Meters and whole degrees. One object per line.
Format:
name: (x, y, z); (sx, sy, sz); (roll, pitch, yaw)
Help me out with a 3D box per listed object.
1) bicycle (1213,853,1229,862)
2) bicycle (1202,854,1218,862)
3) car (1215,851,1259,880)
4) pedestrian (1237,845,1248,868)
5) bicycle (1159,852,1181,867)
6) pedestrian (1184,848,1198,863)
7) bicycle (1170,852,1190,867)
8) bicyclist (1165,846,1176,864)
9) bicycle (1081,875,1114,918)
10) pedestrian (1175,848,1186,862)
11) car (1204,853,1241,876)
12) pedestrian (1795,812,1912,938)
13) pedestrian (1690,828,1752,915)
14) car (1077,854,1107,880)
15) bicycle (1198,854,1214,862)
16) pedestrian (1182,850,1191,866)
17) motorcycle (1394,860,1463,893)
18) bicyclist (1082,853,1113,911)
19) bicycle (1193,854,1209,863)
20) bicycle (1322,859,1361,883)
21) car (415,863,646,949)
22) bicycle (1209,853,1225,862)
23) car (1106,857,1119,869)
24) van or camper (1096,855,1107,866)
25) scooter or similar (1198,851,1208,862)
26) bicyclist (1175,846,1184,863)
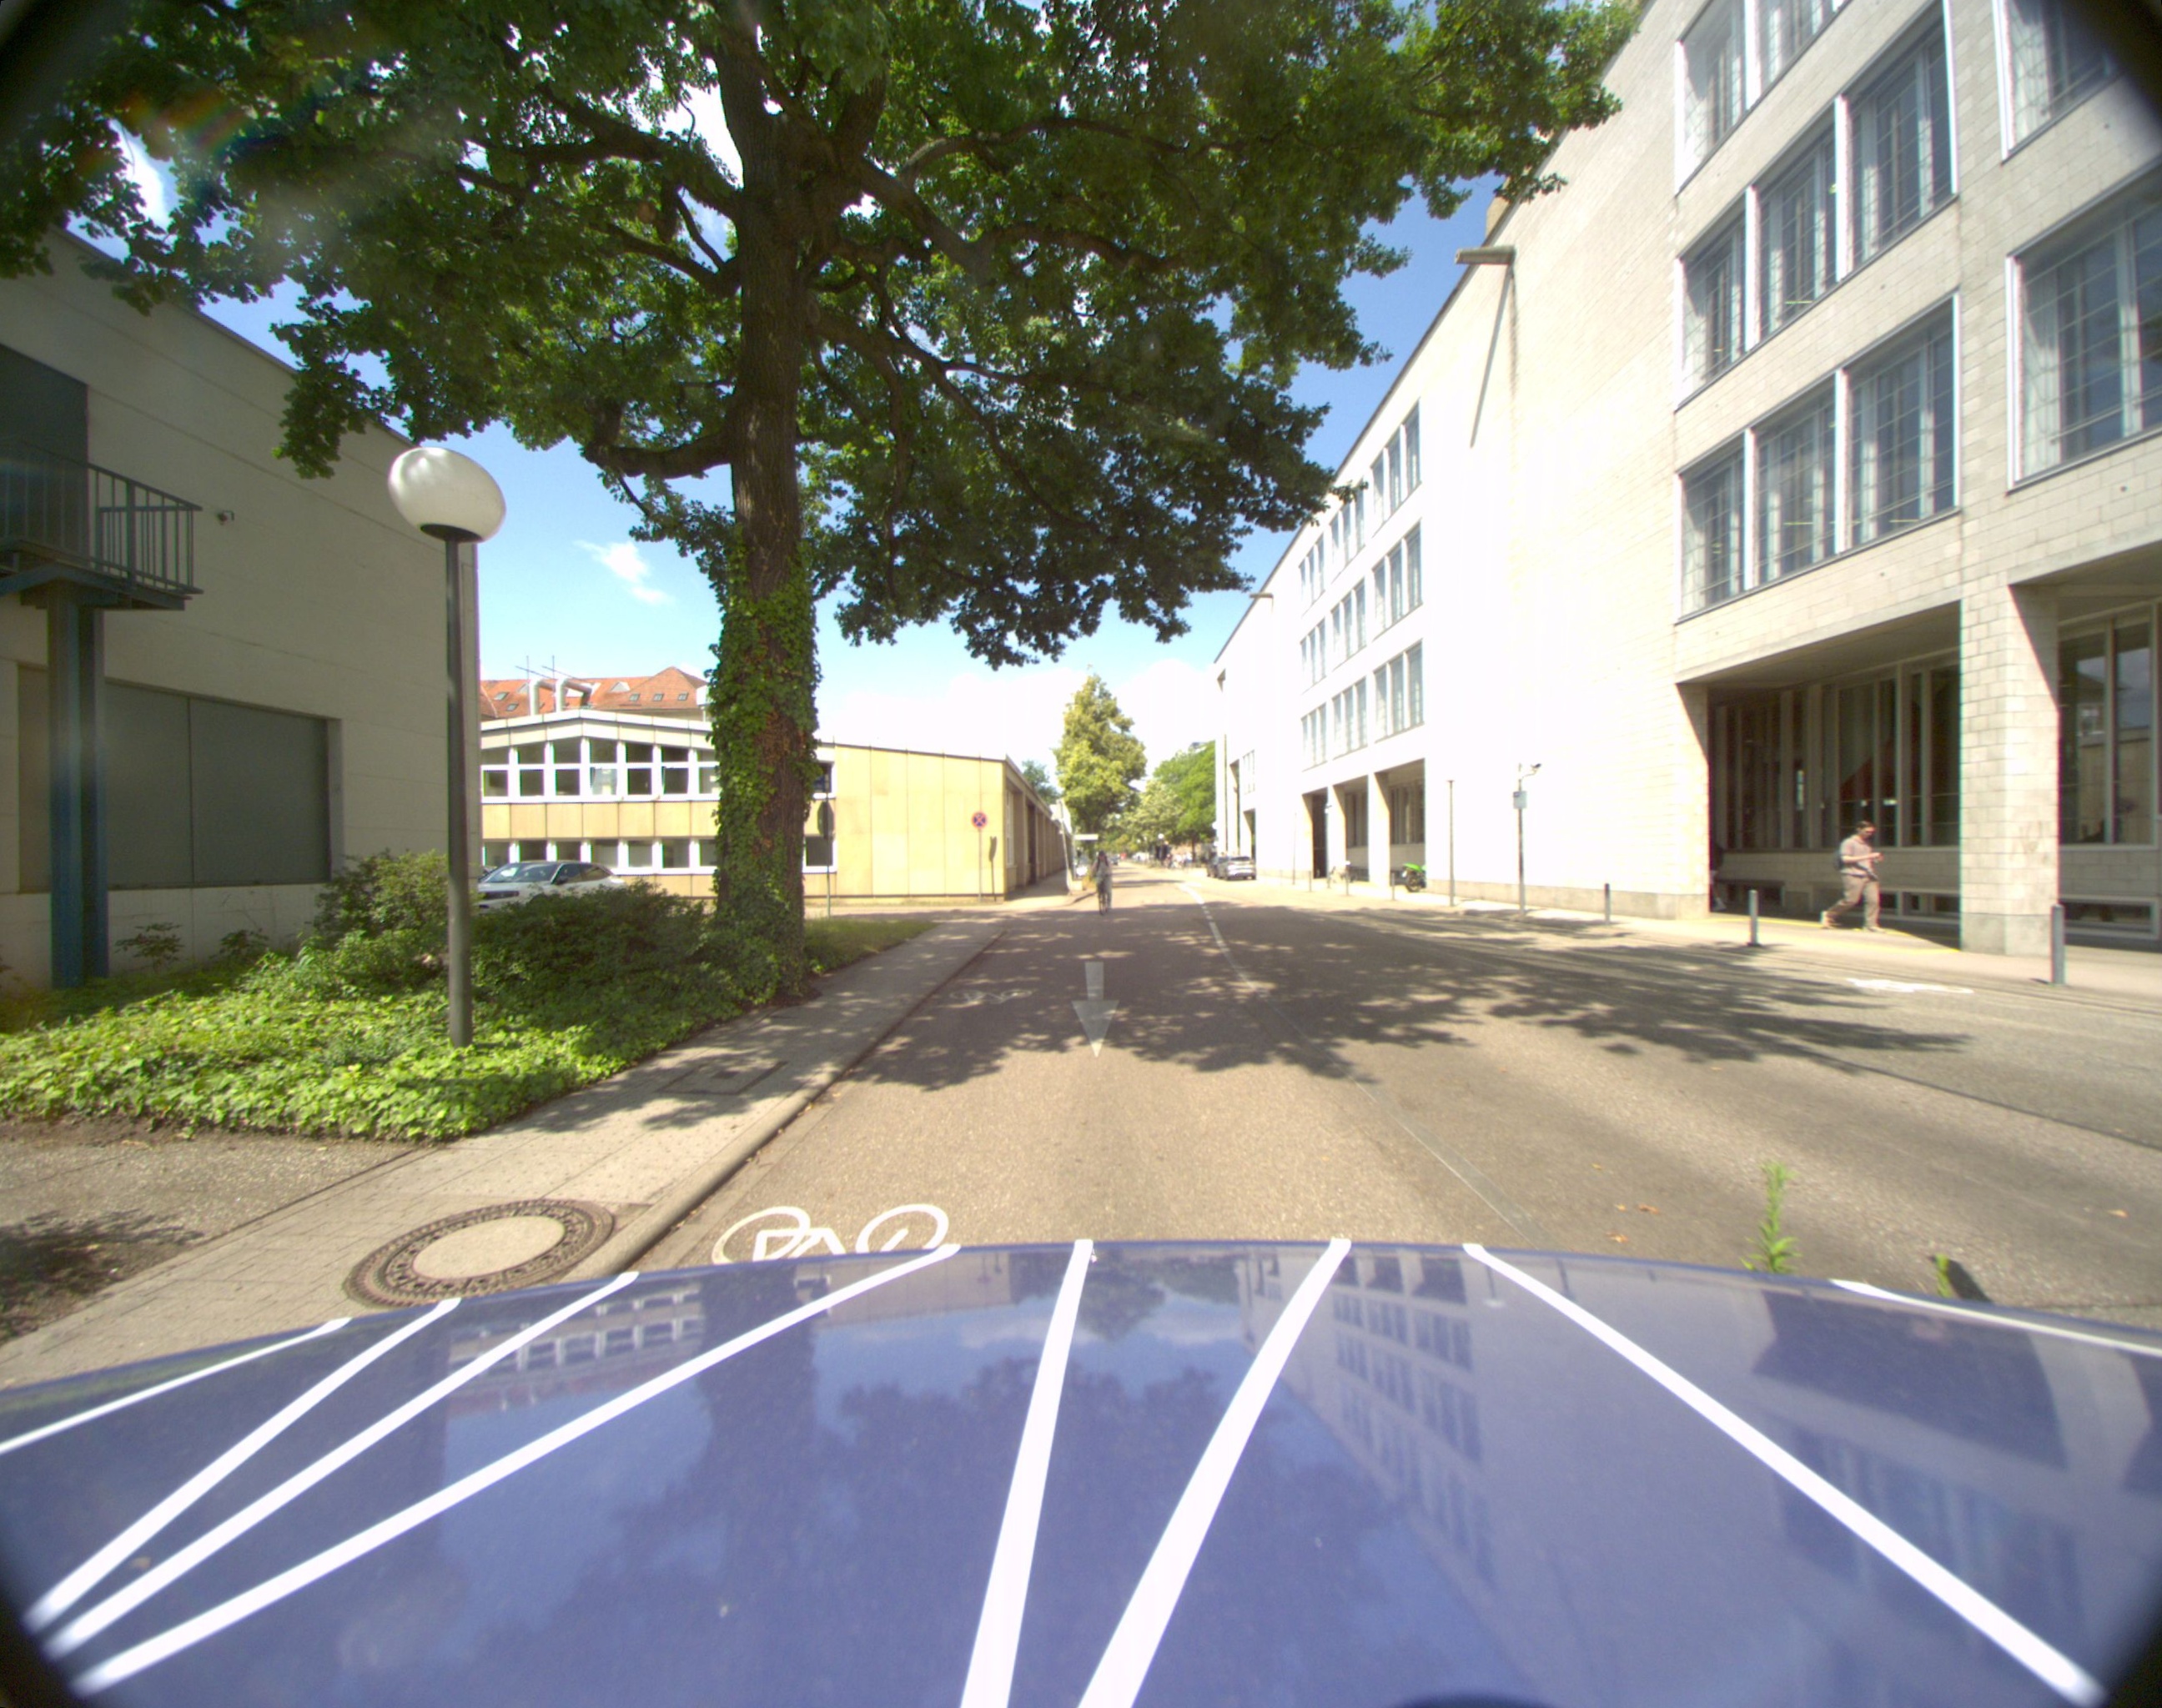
bicycle: (18.367, 0.427, 99.899); (2.127, 1.100, 0.681); (-2, 1, -29)
bicycle: (17.354, 0.547, 102.213); (2.127, 1.052, 0.681); (-2, 1, -29)
car: (9.206, 0.662, 45.273); (1.730, 1.526, 4.405); (-3, 1, 1)
pedestrian: (14.712, 0.232, 69.109); (0.755, 2.002, 1.081); (-1, 1, 0)
bicycle: (8.902, 0.566, 76.069); (2.056, 1.485, 0.800); (-1, 1, 43)
pedestrian: (13.164, 0.174, 91.140); (1.400, 1.813, 1.369); (-1, 1, 0)
bicycle: (10.107, 0.525, 77.464); (1.930, 1.485, 0.641); (-1, 1, 34)
bicyclist: (8.973, 0.131, 75.981); (0.731, 1.766, 0.763); (-1, 1, 43)
bicycle: (0.410, 1.093, 20.053); (0.781, 1.042, 1.912); (0, 0, -1)
pedestrian: (14.134, 0.119, 108.156); (1.400, 2.002, 1.369); (-1, 1, 0)
car: (9.457, 0.666, 51.082); (1.730, 1.414, 4.665); (-1, 0, 1)
pedestrian: (12.785, 0.335, 12.613); (0.850, 2.002, 1.066); (0, 1, -2)
pedestrian: (14.139, 0.381, 16.796); (0.733, 1.869, 0.720); (-2, 1, 1)
car: (0.664, 0.761, 46.402); (1.760, 1.559, 3.817); (0, 0, 0)
bicycle: (16.934, 0.580, 102.820); (2.127, 1.052, 0.621); (-2, 1, -29)
pedestrian: (11.121, 0.416, 80.005); (0.760, 1.715, 1.235); (-3, 1, 11)
motorcycle: (12.358, 0.798, 27.017); (2.173, 1.131, 0.774); (-1, 1, -9)
bicyclist: (0.423, 0.723, 19.966); (0.781, 1.478, 0.695); (0, 1, -1)
bicycle: (16.475, 0.605, 104.139); (2.127, 1.052, 0.621); (-2, 1, -29)
bicycle: (12.404, 0.805, 36.179); (1.643, 1.080, 0.608); (-2, 1, -5)
car: (-11.084, 0.953, 15.732); (1.671, 1.468, 4.181); (-1, 0, 1)
bicycle: (18.060, 0.479, 100.624); (2.127, 1.052, 0.681); (-2, 1, -29)
car: (4.826, 1.338, 116.874); (1.998, 1.805, 4.000); (0, 0, 2)
van or camper: (4.678, 1.494, 170.790); (1.997, 2.348, 4.385); (0, 0, 7)
scooter or similar: (13.464, 0.276, 83.708); (0.713, 1.184, 1.617); (-1, 1, 23)
bicyclist: (10.053, 0.070, 77.478); (0.695, 1.754, 0.611); (-1, 1, 34)
